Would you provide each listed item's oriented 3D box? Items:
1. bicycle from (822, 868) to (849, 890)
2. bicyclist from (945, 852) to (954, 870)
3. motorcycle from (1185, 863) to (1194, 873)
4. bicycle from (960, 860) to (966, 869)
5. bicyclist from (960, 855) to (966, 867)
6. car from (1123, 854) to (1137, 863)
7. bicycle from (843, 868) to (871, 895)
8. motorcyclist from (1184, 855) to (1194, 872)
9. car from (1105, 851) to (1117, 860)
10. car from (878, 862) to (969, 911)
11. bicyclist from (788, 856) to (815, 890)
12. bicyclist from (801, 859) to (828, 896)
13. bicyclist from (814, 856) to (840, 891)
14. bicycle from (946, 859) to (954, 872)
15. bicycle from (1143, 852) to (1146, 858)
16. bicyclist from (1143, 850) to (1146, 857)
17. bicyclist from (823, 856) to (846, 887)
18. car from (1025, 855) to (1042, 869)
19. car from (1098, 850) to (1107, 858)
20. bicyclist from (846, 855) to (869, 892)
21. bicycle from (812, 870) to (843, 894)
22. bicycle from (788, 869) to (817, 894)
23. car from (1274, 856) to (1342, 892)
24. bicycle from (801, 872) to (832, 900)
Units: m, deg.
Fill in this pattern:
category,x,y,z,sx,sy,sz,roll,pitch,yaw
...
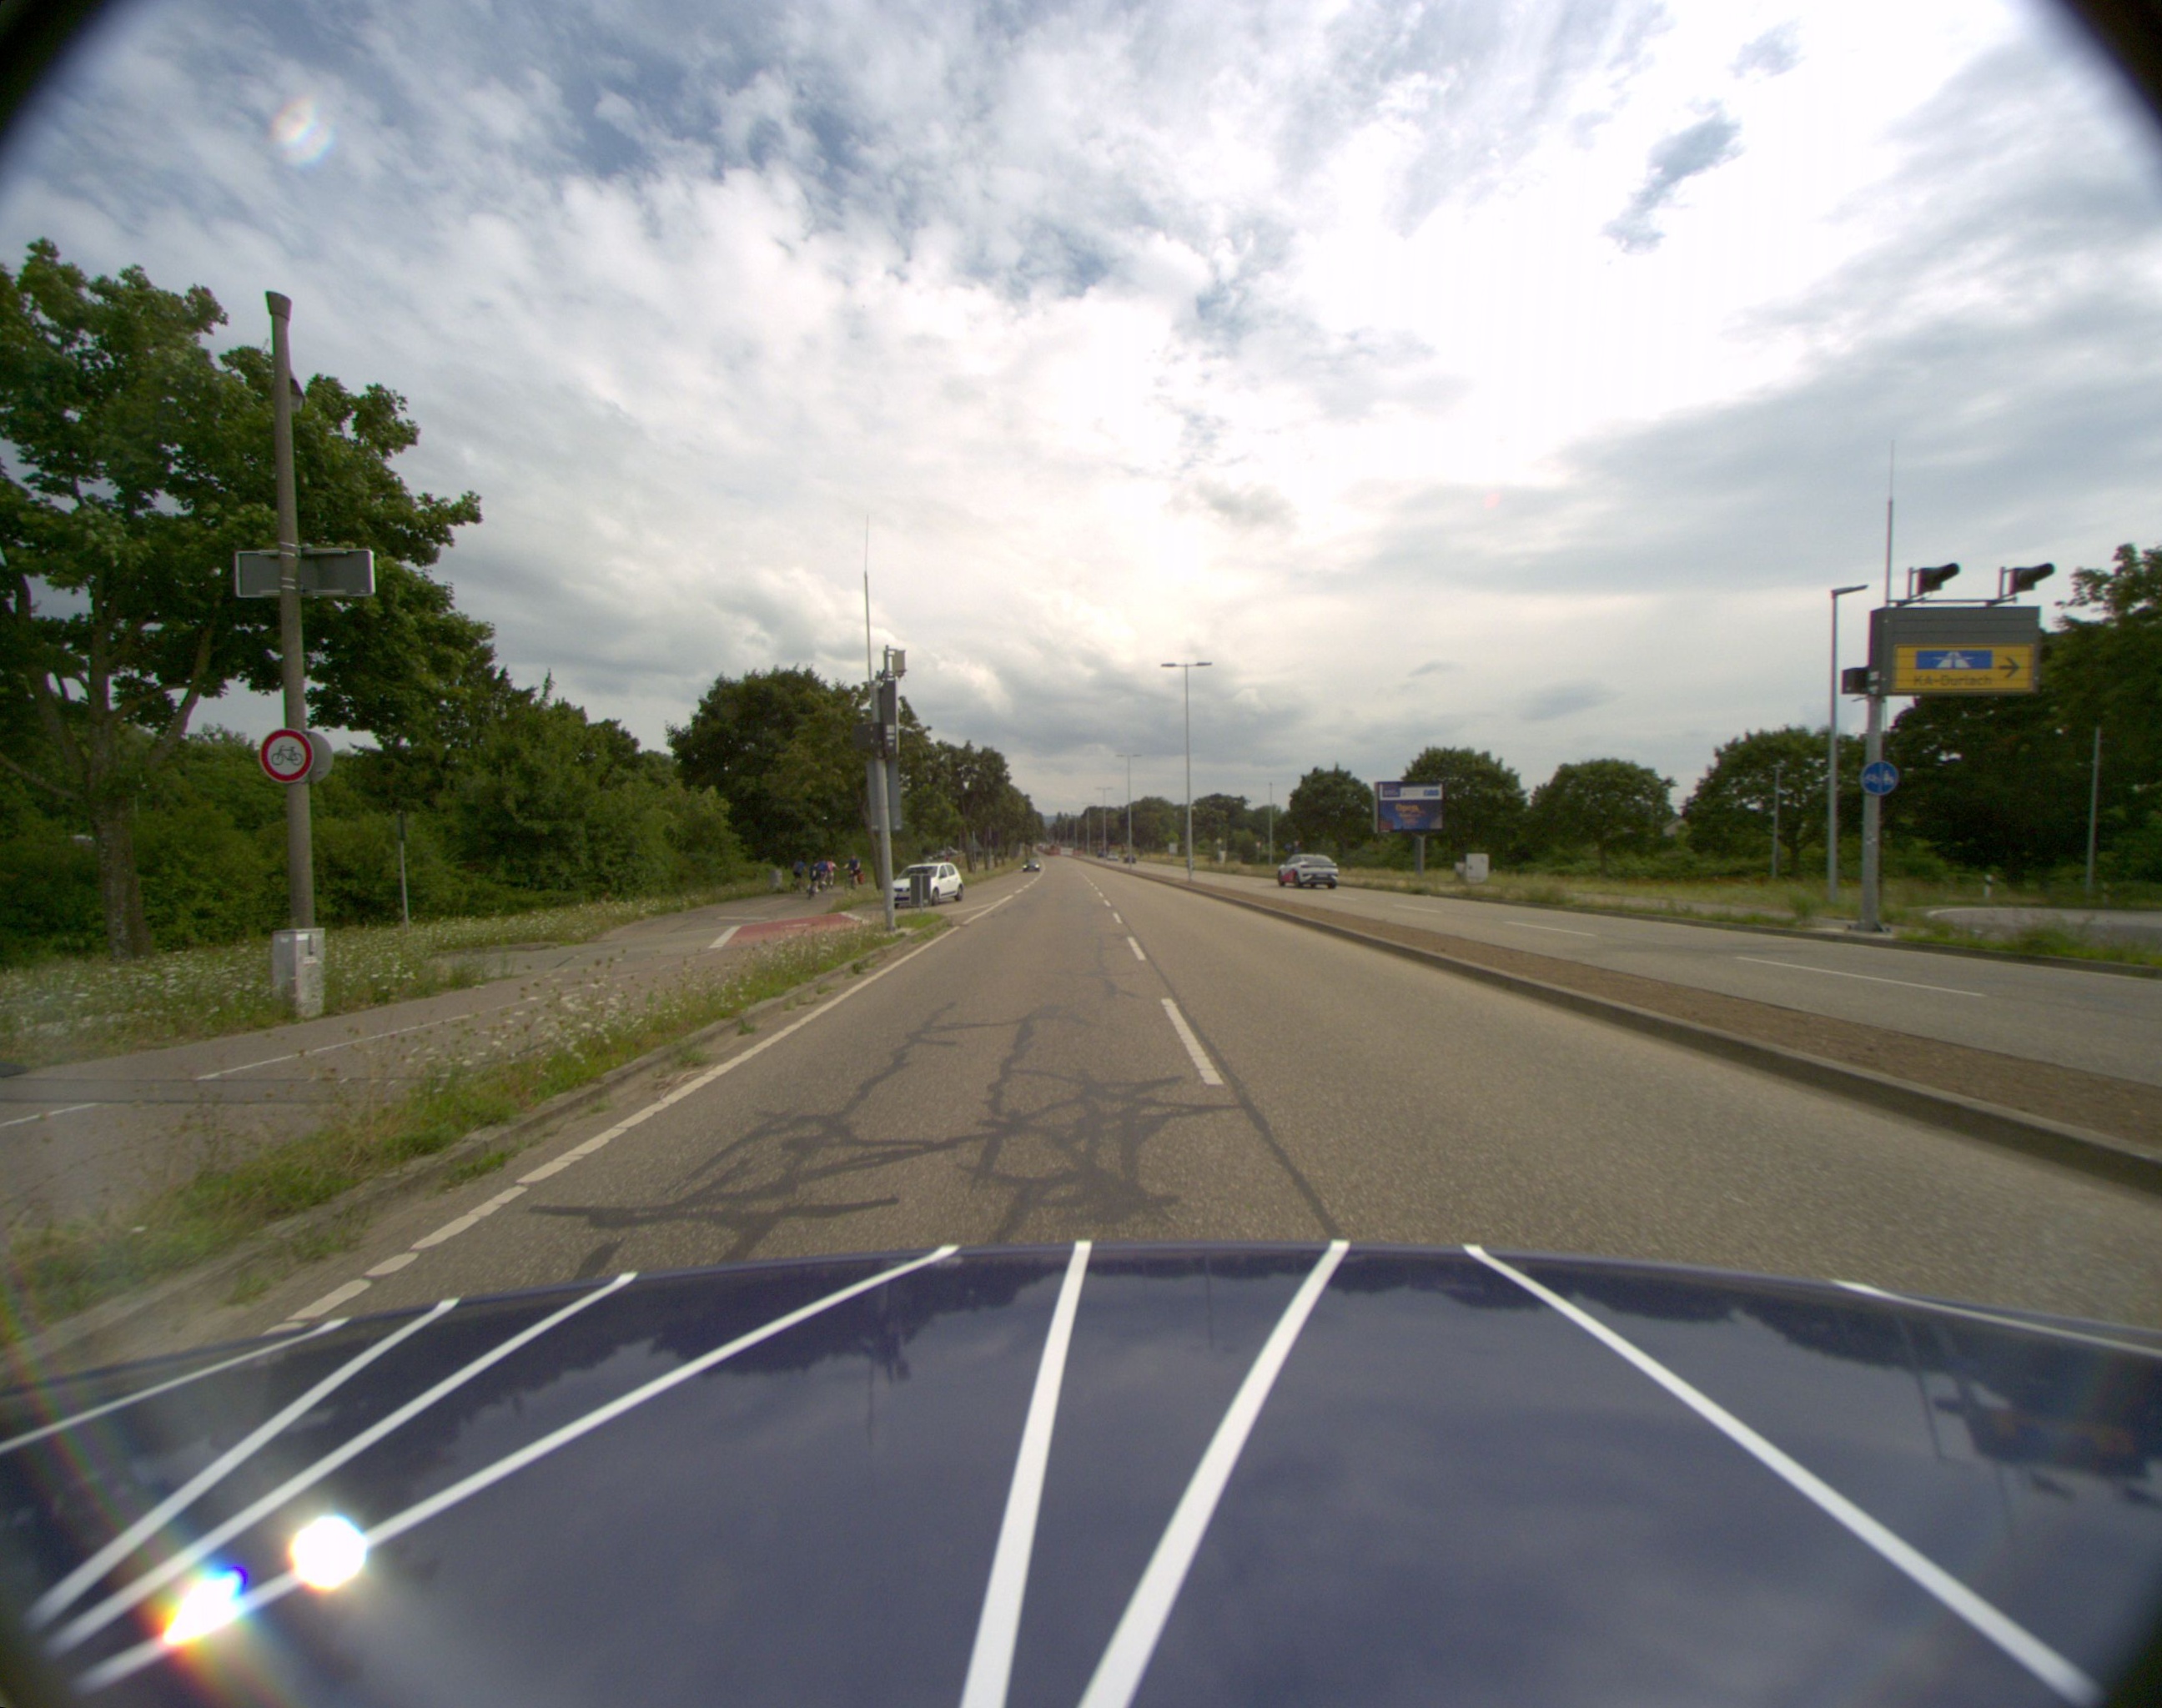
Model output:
category,x,y,z,sx,sy,sz,roll,pitch,yaw
bicycle,-12.202,1.232,37.792,0.621,1.000,1.788,1,0,6
bicyclist,-12.669,0.681,73.110,0.653,1.648,0.780,-2,1,-3
motorcycle,10.274,1.321,71.999,0.524,0.961,2.219,0,0,-1
bicycle,-13.066,1.146,84.179,0.515,0.958,1.782,0,0,-3
bicyclist,-13.084,0.810,84.201,0.540,1.275,0.449,-2,1,-3
car,8.057,0.761,125.510,1.773,1.523,4.739,0,0,-3
bicycle,-10.203,1.238,34.709,0.574,1.141,1.983,0,0,4
motorcyclist,10.260,0.867,72.073,0.772,1.579,0.896,0,0,-1
car,5.913,0.268,150.055,1.773,1.644,4.637,1,0,-3
car,-5.641,1.125,27.731,1.850,1.493,4.002,-3,0,9
bicyclist,-12.650,0.862,34.418,0.743,1.478,0.958,-2,1,3
bicyclist,-11.118,0.966,31.736,0.743,1.509,0.958,-2,1,-2
bicyclist,-11.637,0.879,34.800,0.742,1.509,0.958,-2,1,4
bicycle,-12.638,1.114,73.178,0.515,1.141,2.231,0,0,-3
bicycle,14.959,0.262,179.304,0.537,1.414,2.166,1,0,-2
bicyclist,14.950,-0.099,179.344,0.645,1.821,0.819,0,1,-3
bicyclist,-12.190,0.860,37.581,0.741,1.465,0.806,-2,1,8
car,-5.114,0.858,81.320,1.773,1.439,4.322,-1,0,-4
car,4.906,0.012,174.479,1.852,1.644,4.563,0,0,-3
bicyclist,-10.207,0.888,34.735,0.653,1.648,0.876,-2,1,4
bicycle,-11.607,1.264,34.844,0.596,1.030,2.196,-1,0,3
bicycle,-12.628,1.244,34.524,0.621,1.000,1.787,1,3,2
car,10.872,0.908,36.714,1.852,1.592,4.560,0,0,-1
bicycle,-11.069,1.341,31.871,0.621,1.000,2.101,1,2,-2
